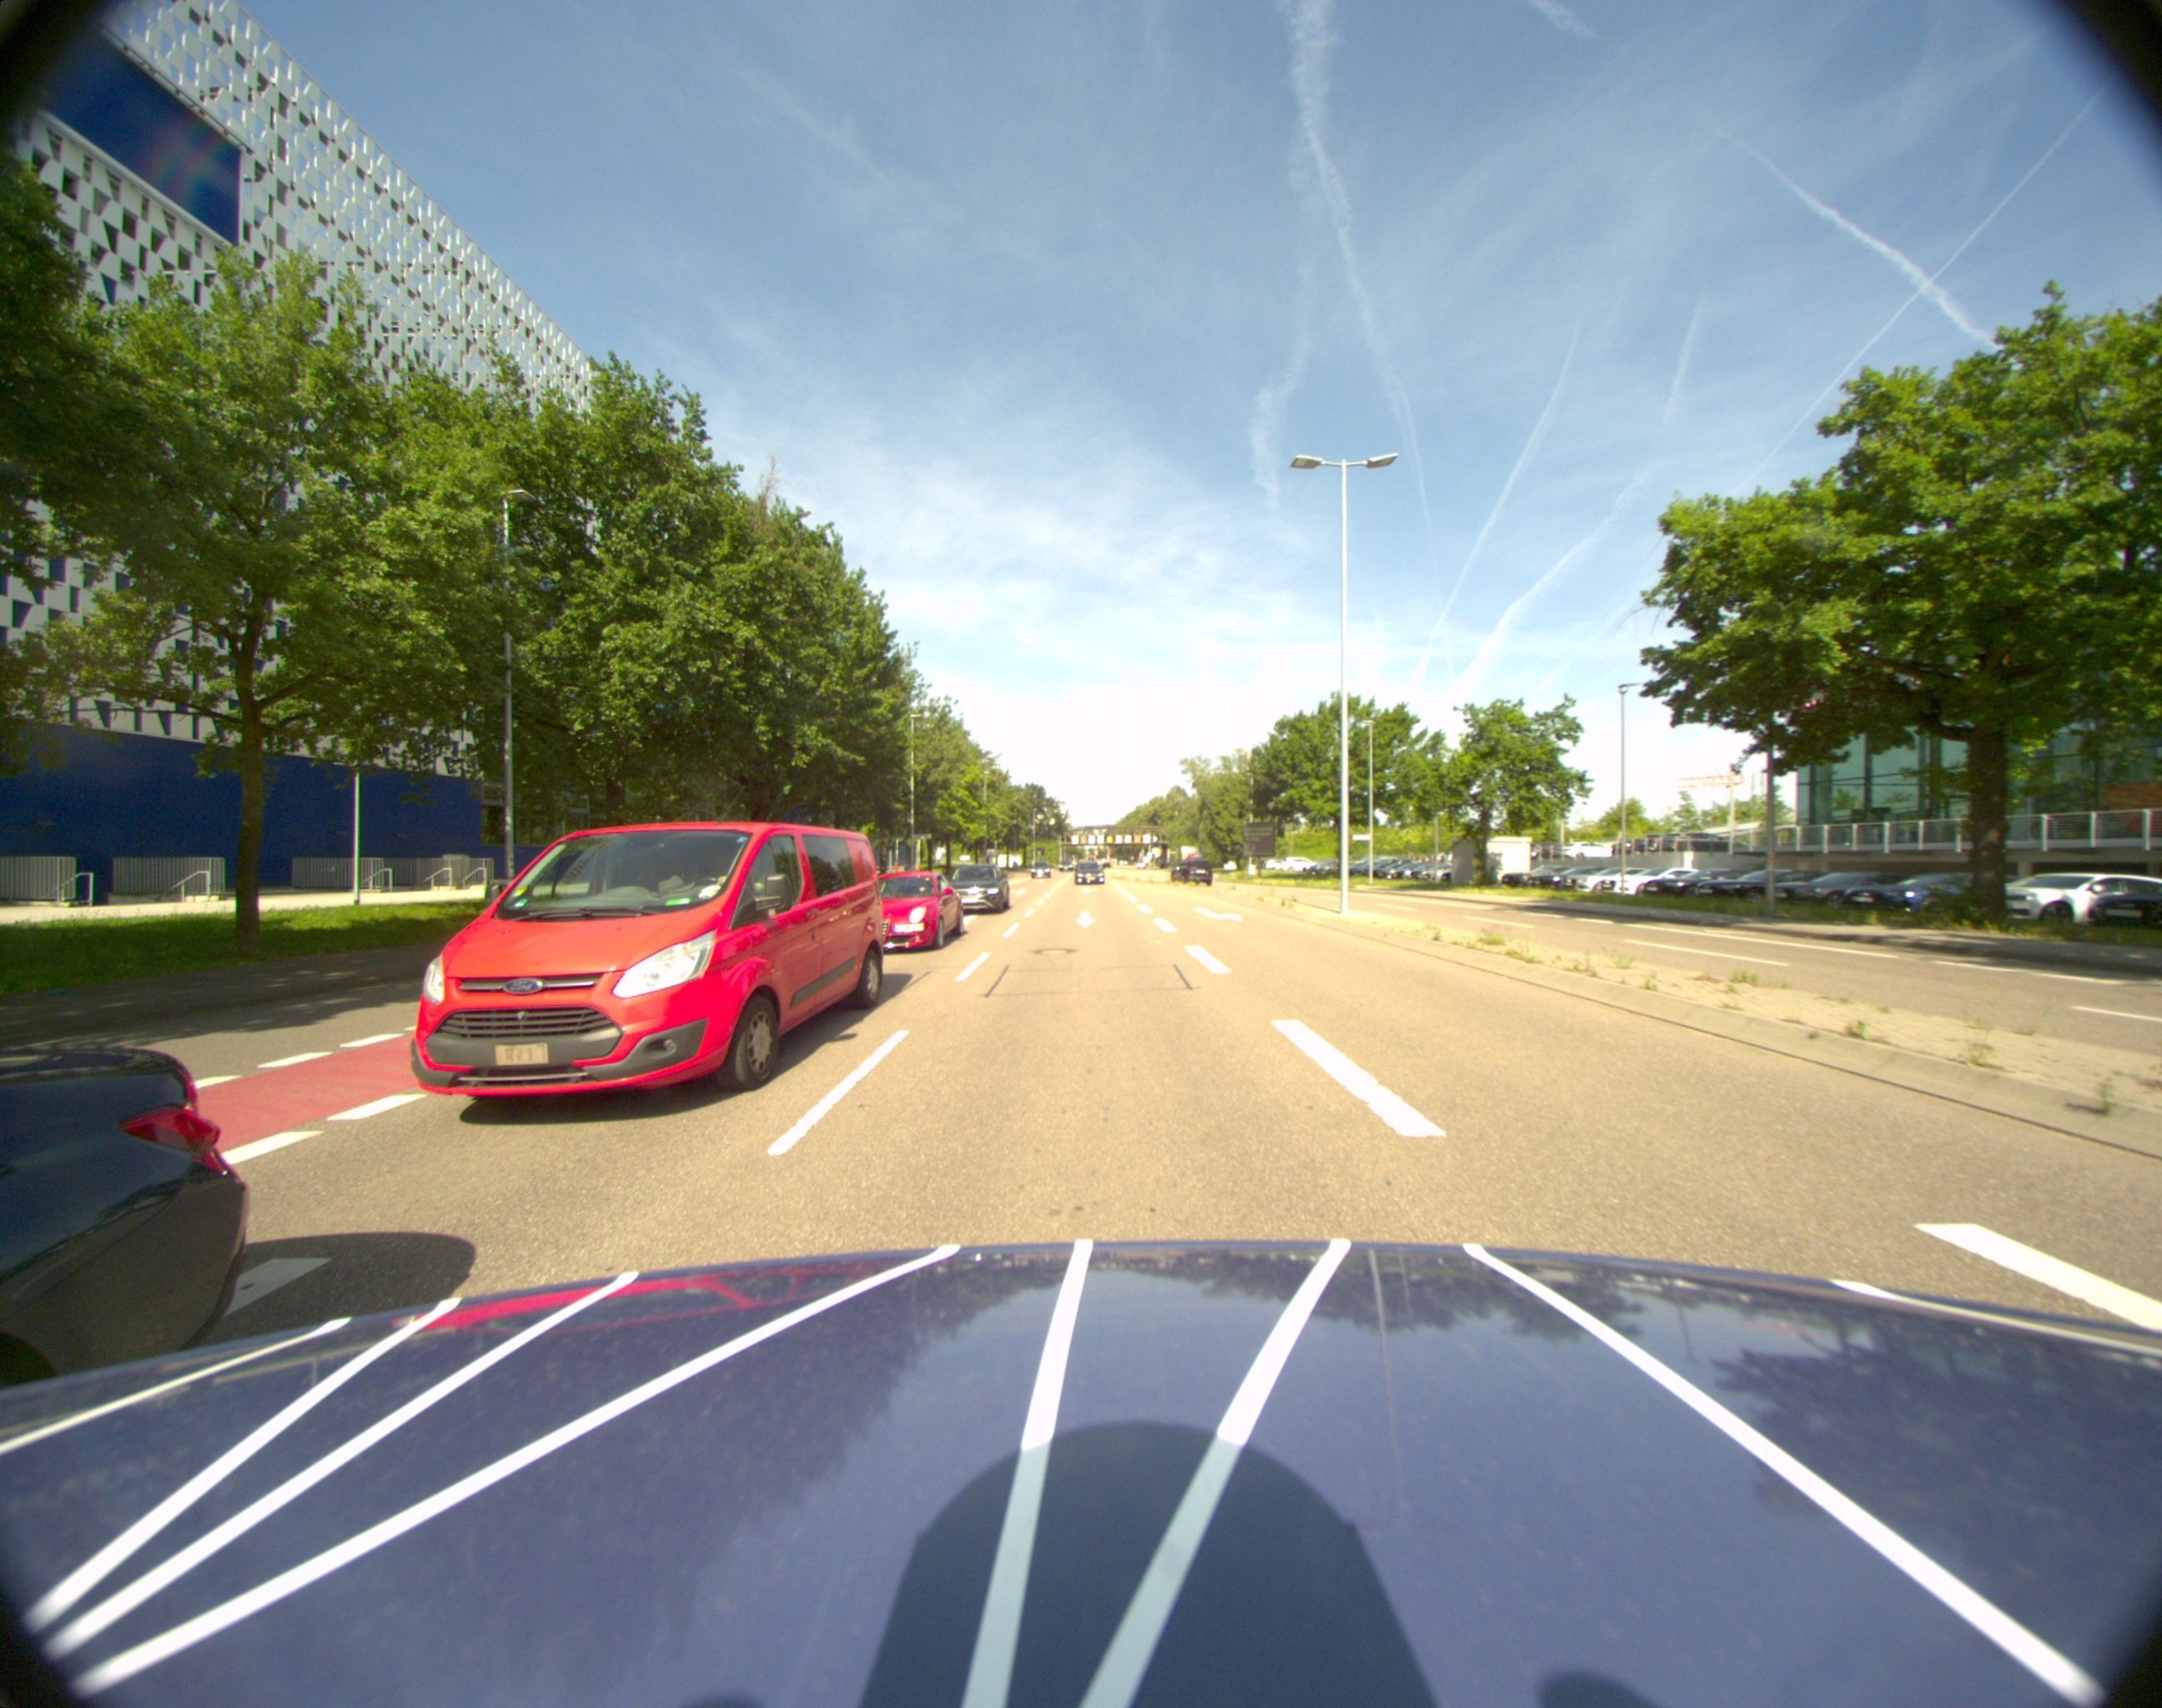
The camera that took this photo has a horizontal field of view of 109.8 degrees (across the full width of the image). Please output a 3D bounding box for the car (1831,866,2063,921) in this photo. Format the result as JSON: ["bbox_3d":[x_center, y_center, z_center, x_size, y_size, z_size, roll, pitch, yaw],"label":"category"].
[{"bbox_3d":[23.199,1.031,20.469,4.196,1.198,1.690,3,0,2],"label":"car"}]

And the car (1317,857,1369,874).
[{"bbox_3d":[24.682,1.065,71.671,4.196,1.315,1.690,3,0,2],"label":"car"}]

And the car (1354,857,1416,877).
[{"bbox_3d":[24.320,1.028,60.888,4.196,1.315,1.690,3,0,2],"label":"car"}]

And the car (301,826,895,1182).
[{"bbox_3d":[-3.238,0.832,6.576,2.014,1.896,4.810,-2,0,0],"label":"car"}]

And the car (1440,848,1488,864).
[{"bbox_3d":[40.560,0.188,80.483,4.196,1.490,1.690,3,0,2],"label":"car"}]

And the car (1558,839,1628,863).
[{"bbox_3d":[40.241,-0.232,59.787,4.196,1.722,1.690,3,0,2],"label":"car"}]

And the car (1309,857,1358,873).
[{"bbox_3d":[24.616,1.040,74.172,4.196,1.315,1.690,3,0,2],"label":"car"}]

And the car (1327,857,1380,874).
[{"bbox_3d":[24.737,1.031,69.124,4.196,1.315,1.690,3,0,2],"label":"car"}]

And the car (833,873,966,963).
[{"bbox_3d":[-3.373,1.129,14.865,1.692,1.414,3.915,-1,0,-1],"label":"car"}]

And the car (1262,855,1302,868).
[{"bbox_3d":[23.833,0.892,90.192,4.196,1.370,1.690,3,0,2],"label":"car"}]

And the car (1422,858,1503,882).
[{"bbox_3d":[24.116,1.010,48.123,4.196,1.315,1.690,3,0,2],"label":"car"}]

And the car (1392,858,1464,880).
[{"bbox_3d":[24.102,1.029,52.884,4.196,1.315,1.690,3,0,2],"label":"car"}]

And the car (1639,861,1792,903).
[{"bbox_3d":[23.575,1.026,28.325,4.196,1.291,1.690,3,0,2],"label":"car"}]

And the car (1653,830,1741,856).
[{"bbox_3d":[39.869,-0.706,49.242,4.196,1.397,1.690,3,0,2],"label":"car"}]

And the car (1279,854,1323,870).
[{"bbox_3d":[23.837,0.906,82.406,4.196,1.490,1.690,3,0,2],"label":"car"}]

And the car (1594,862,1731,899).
[{"bbox_3d":[23.649,1.073,31.013,4.196,1.248,1.690,3,0,2],"label":"car"}]

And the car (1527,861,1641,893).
[{"bbox_3d":[23.778,1.066,36.017,4.196,1.239,1.690,3,0,2],"label":"car"}]

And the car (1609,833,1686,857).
[{"bbox_3d":[40.674,-0.652,54.596,4.196,1.490,1.690,3,0,2],"label":"car"}]

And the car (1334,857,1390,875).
[{"bbox_3d":[24.567,1.050,66.439,4.196,1.315,1.690,3,0,2],"label":"car"}]

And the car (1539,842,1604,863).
[{"bbox_3d":[40.263,-0.081,62.446,4.196,1.490,1.690,3,0,2],"label":"car"}]

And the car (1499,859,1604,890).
[{"bbox_3d":[23.748,1.031,38.487,4.196,1.315,1.690,3,0,2],"label":"car"}]

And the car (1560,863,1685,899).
[{"bbox_3d":[23.745,1.170,33.418,4.196,1.317,1.690,3,0,2],"label":"car"}]

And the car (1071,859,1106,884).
[{"bbox_3d":[0.446,1.115,50.190,1.883,1.513,4.867,-2,0,-3],"label":"car"}]

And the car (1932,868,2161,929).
[{"bbox_3d":[23.295,1.034,18.013,4.196,1.188,1.690,3,0,2],"label":"car"}]

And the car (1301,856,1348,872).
[{"bbox_3d":[24.668,1.005,76.962,4.196,1.315,1.690,3,0,2],"label":"car"}]

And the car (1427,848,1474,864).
[{"bbox_3d":[40.337,0.199,83.028,4.196,1.490,1.690,3,0,2],"label":"car"}]

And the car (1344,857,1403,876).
[{"bbox_3d":[24.559,1.025,63.902,4.196,1.315,1.690,3,0,2],"label":"car"}]

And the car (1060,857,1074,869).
[{"bbox_3d":[-1.891,1.181,103.504,1.848,1.530,4.000,0,0,0],"label":"car"}]

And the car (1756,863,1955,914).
[{"bbox_3d":[23.318,1.008,22.993,4.196,1.247,1.690,3,0,2],"label":"car"}]

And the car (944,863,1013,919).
[{"bbox_3d":[-3.188,1.121,24.392,1.649,1.530,4.000,-3,0,-1],"label":"car"}]

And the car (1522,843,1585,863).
[{"bbox_3d":[40.271,-0.062,64.781,4.196,1.490,1.690,3,0,2],"label":"car"}]

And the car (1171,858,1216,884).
[{"bbox_3d":[6.859,1.025,46.555,1.867,1.503,3.998,1,0,-5],"label":"car"}]

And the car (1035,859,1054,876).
[{"bbox_3d":[-3.466,1.258,72.443,1.649,1.453,4.000,-2,0,-1],"label":"car"}]

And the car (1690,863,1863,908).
[{"bbox_3d":[23.424,1.035,25.689,4.196,1.252,1.690,3,0,2],"label":"car"}]

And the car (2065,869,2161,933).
[{"bbox_3d":[23.374,1.041,15.515,4.196,1.239,1.690,3,0,2],"label":"car"}]

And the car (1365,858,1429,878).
[{"bbox_3d":[24.214,1.043,58.357,4.196,1.315,1.690,3,0,2],"label":"car"}]

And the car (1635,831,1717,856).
[{"bbox_3d":[40.554,-0.687,51.863,4.196,1.490,1.690,3,0,2],"label":"car"}]

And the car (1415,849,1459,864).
[{"bbox_3d":[40.555,0.238,86.583,4.196,1.490,1.690,3,0,2],"label":"car"}]

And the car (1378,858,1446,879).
[{"bbox_3d":[24.260,1.054,55.778,4.196,1.315,1.690,3,0,2],"label":"car"}]

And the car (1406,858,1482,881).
[{"bbox_3d":[24.149,1.031,50.669,4.196,1.315,1.690,3,0,2],"label":"car"}]
